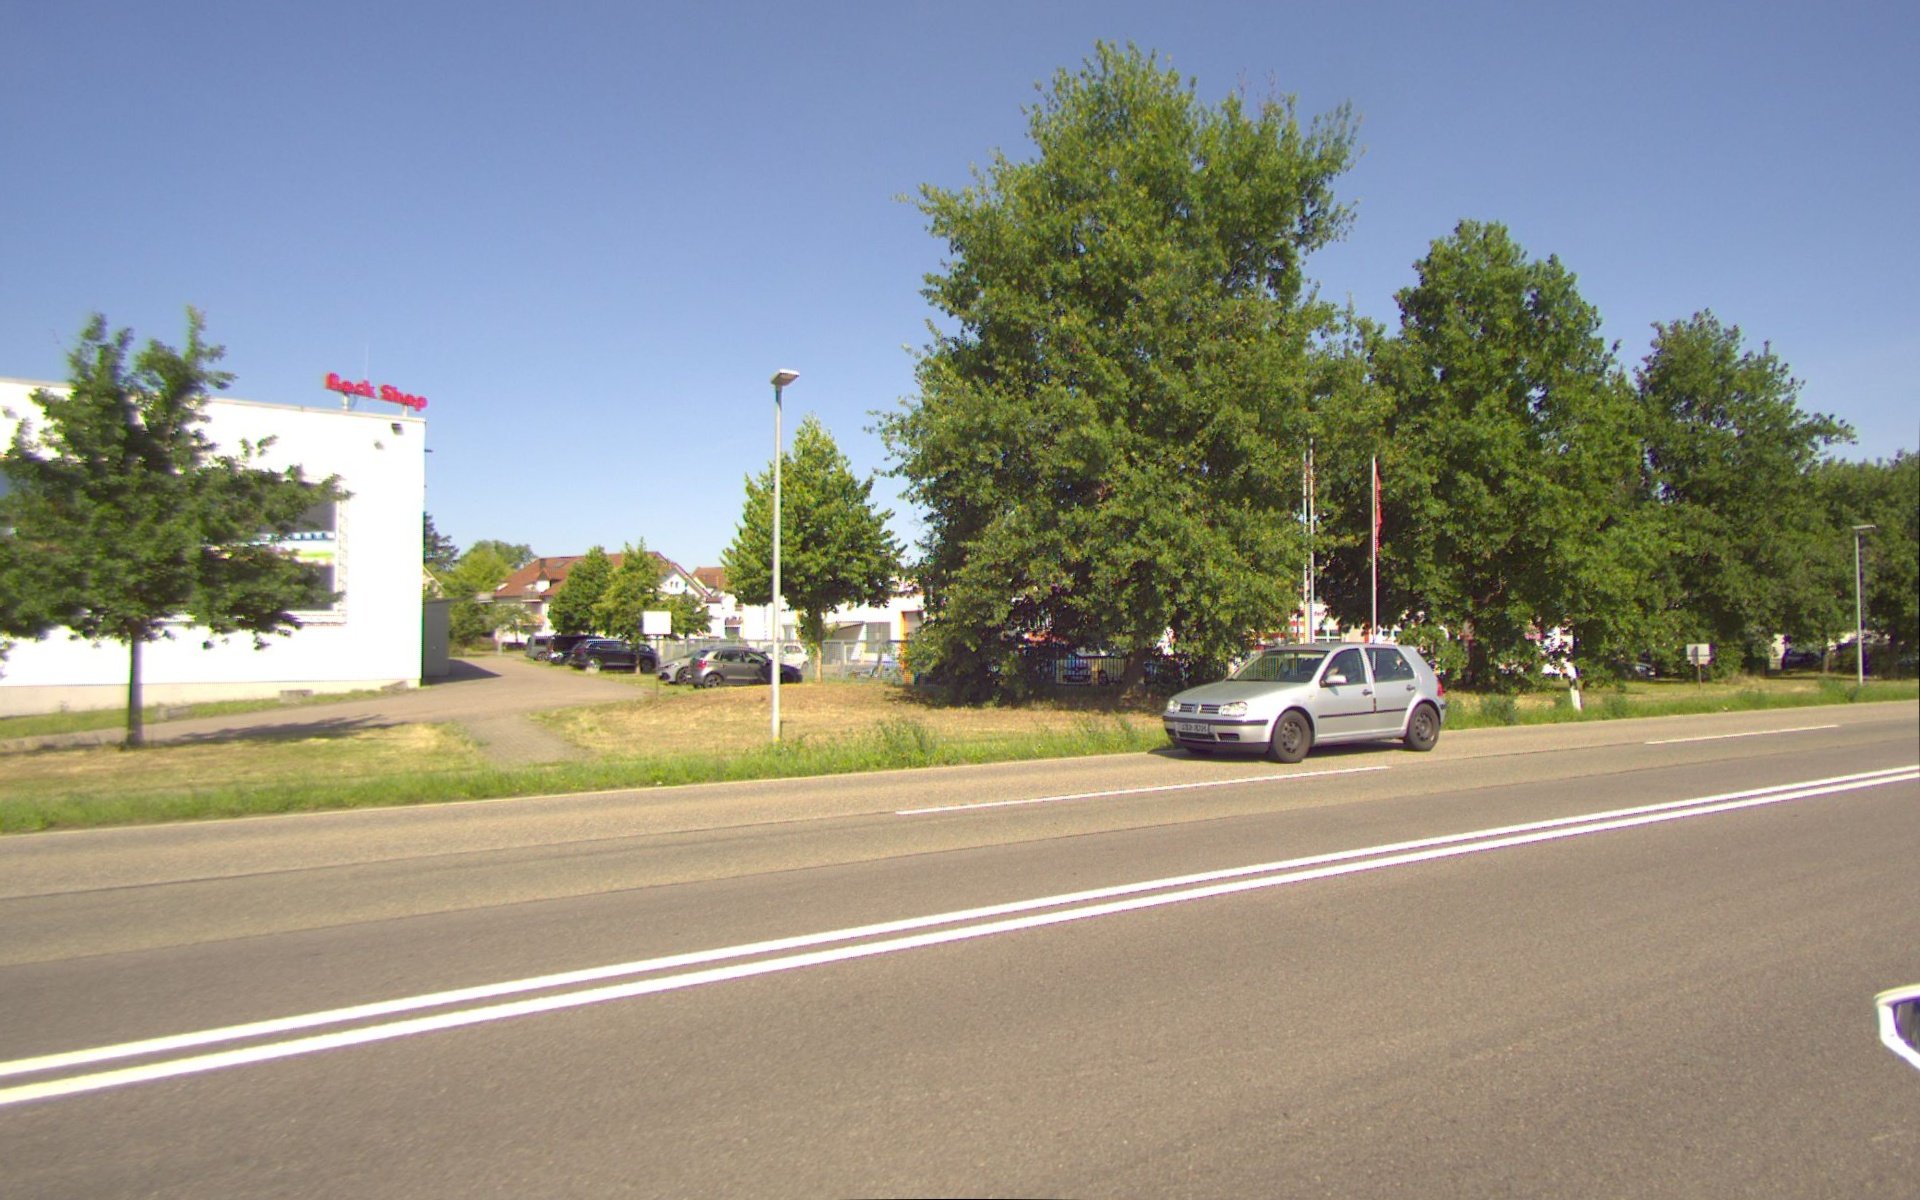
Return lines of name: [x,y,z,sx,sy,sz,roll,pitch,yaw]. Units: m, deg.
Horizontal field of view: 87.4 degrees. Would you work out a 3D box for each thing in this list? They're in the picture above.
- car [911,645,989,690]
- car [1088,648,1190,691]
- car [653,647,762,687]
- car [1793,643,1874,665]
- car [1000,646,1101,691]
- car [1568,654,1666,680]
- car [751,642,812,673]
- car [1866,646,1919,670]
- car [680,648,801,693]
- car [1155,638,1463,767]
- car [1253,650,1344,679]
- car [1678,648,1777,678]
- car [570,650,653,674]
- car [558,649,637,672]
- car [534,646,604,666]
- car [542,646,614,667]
car: [-0.287,2.389,36.302,1.706,1.520,4.002,-1,-3,17]
car: [6.743,2.598,38.264,1.736,1.520,3.970,1,-3,-29]
car: [-9.531,2.510,37.981,3.679,1.429,1.629,2,-3,-30]
car: [72.764,4.488,83.752,4.916,1.830,2.075,0,-2,1]
car: [3.206,2.410,36.310,1.736,1.520,3.970,1,-3,-29]
car: [34.853,3.567,53.376,1.840,1.322,3.972,1,-4,-28]
car: [-9.473,3.026,53.538,1.441,1.579,3.380,-1,-3,28]
car: [67.658,4.145,72.734,4.144,1.673,1.919,2,-2,-31]
car: [-7.411,2.348,33.962,3.679,1.408,1.629,2,-3,-30]
car: [4.594,1.257,13.109,3.953,1.460,1.591,1,-4,-30]
car: [16.831,3.180,49.860,4.612,1.367,1.778,2,-4,-32]
car: [45.779,3.789,59.987,1.976,1.753,4.205,1,-5,-29]
car: [-18.517,3.266,53.408,3.897,1.223,1.629,2,-3,-30]
car: [-19.952,3.307,55.349,3.897,1.223,1.629,2,-3,-30]
car: [-24.621,3.523,63.227,3.897,1.223,1.629,2,-3,-30]
car: [-23.178,3.403,61.018,3.897,1.223,1.629,2,-3,-30]
